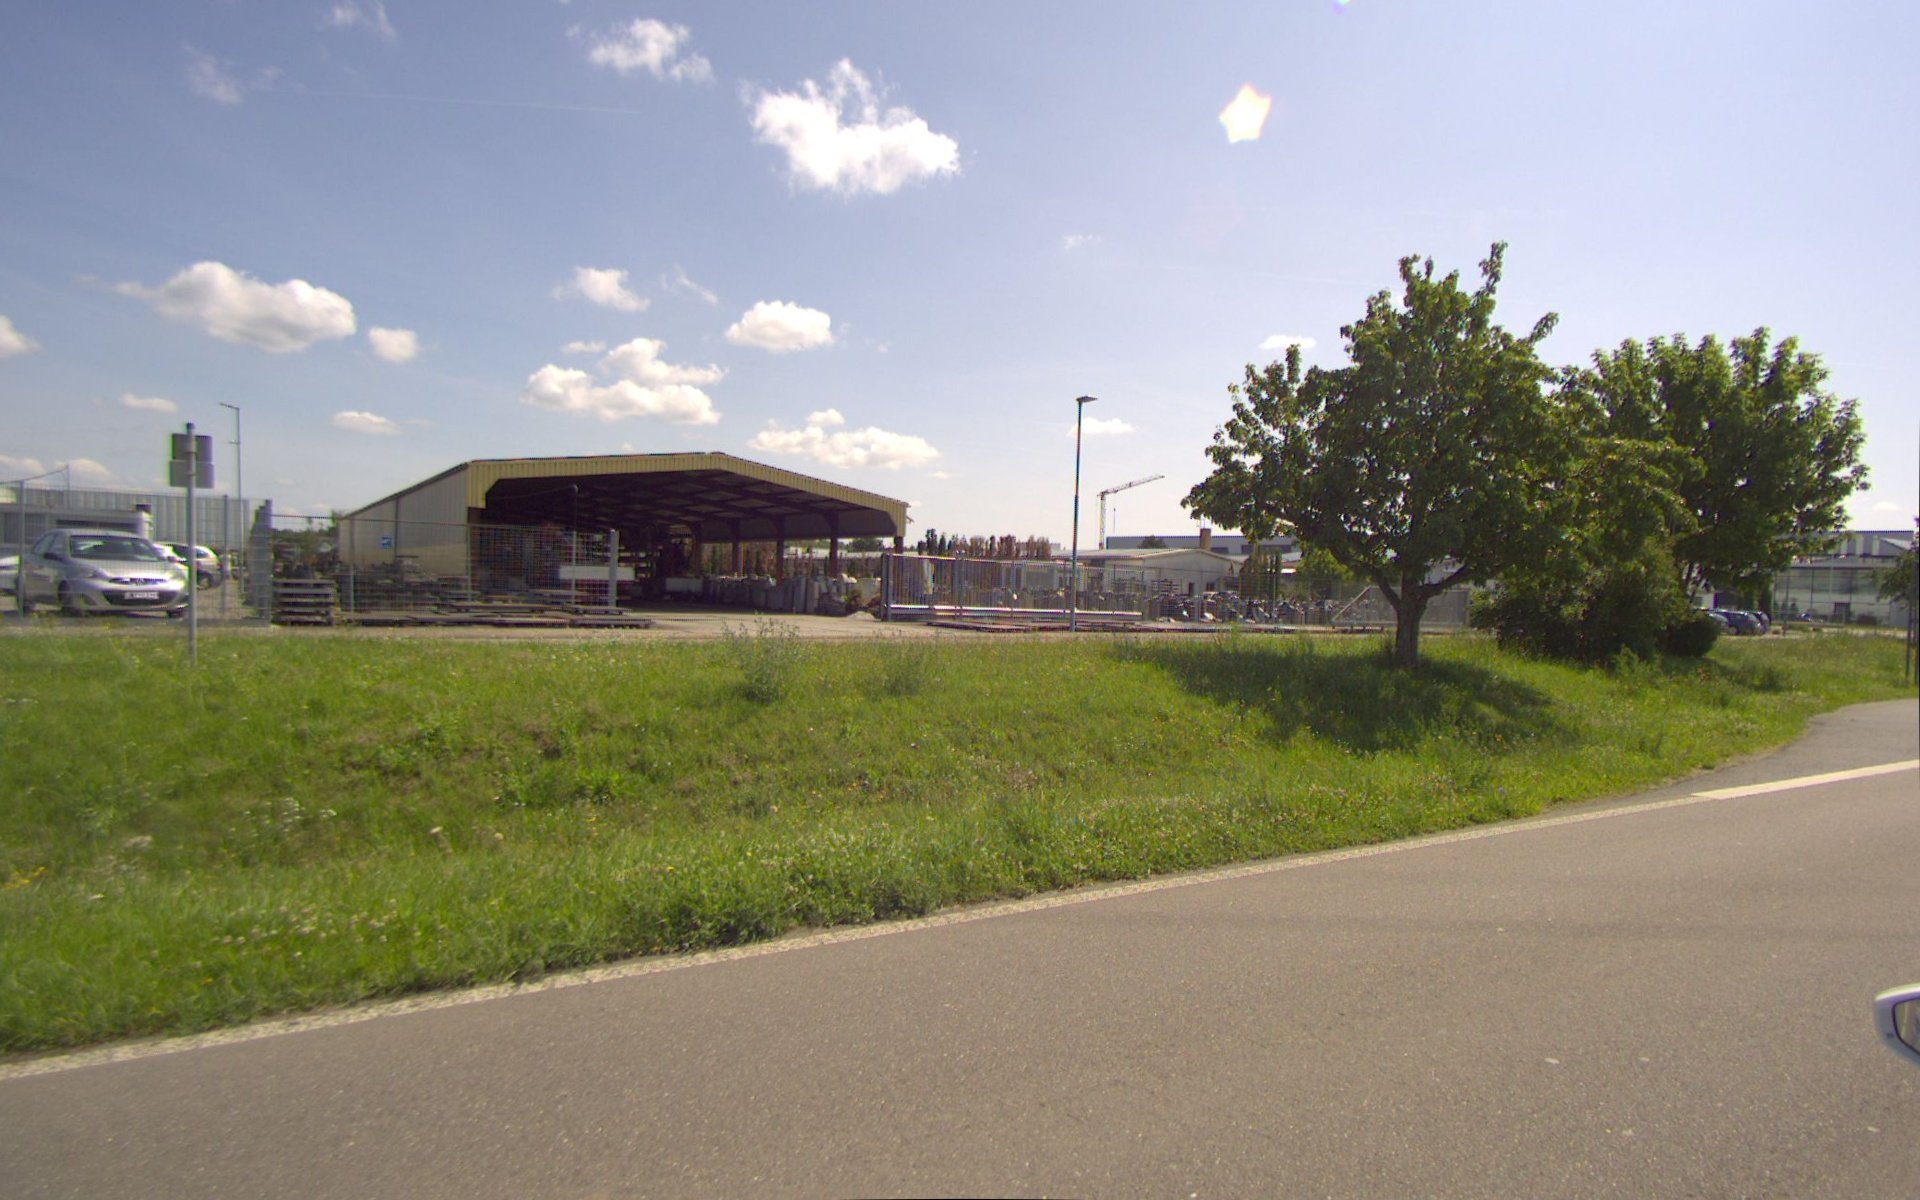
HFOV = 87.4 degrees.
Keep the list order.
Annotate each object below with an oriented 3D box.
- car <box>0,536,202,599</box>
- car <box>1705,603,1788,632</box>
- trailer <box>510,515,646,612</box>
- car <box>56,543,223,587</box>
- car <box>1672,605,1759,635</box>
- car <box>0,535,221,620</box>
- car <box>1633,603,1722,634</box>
[{"bbox_3d":[-22.705,-0.824,26.206,1.963,1.506,4.241,3,2,28],"label":"car"},{"bbox_3d":[52.485,1.159,67.071,1.981,1.662,3.959,1,2,-36],"label":"car"},{"bbox_3d":[-12.624,-1.198,32.931,2.716,2.863,5.520,1,2,-37],"label":"trailer"},{"bbox_3d":[-27.792,-1.173,34.160,1.809,1.328,3.995,3,2,26],"label":"car"},{"bbox_3d":[47.917,1.243,63.764,1.981,1.662,3.959,1,2,-36],"label":"car"},{"bbox_3d":[-15.327,-0.432,17.884,3.926,1.328,1.940,3,2,27],"label":"car"},{"bbox_3d":[42.758,1.091,59.951,1.650,1.576,3.959,1,2,-36],"label":"car"}]
